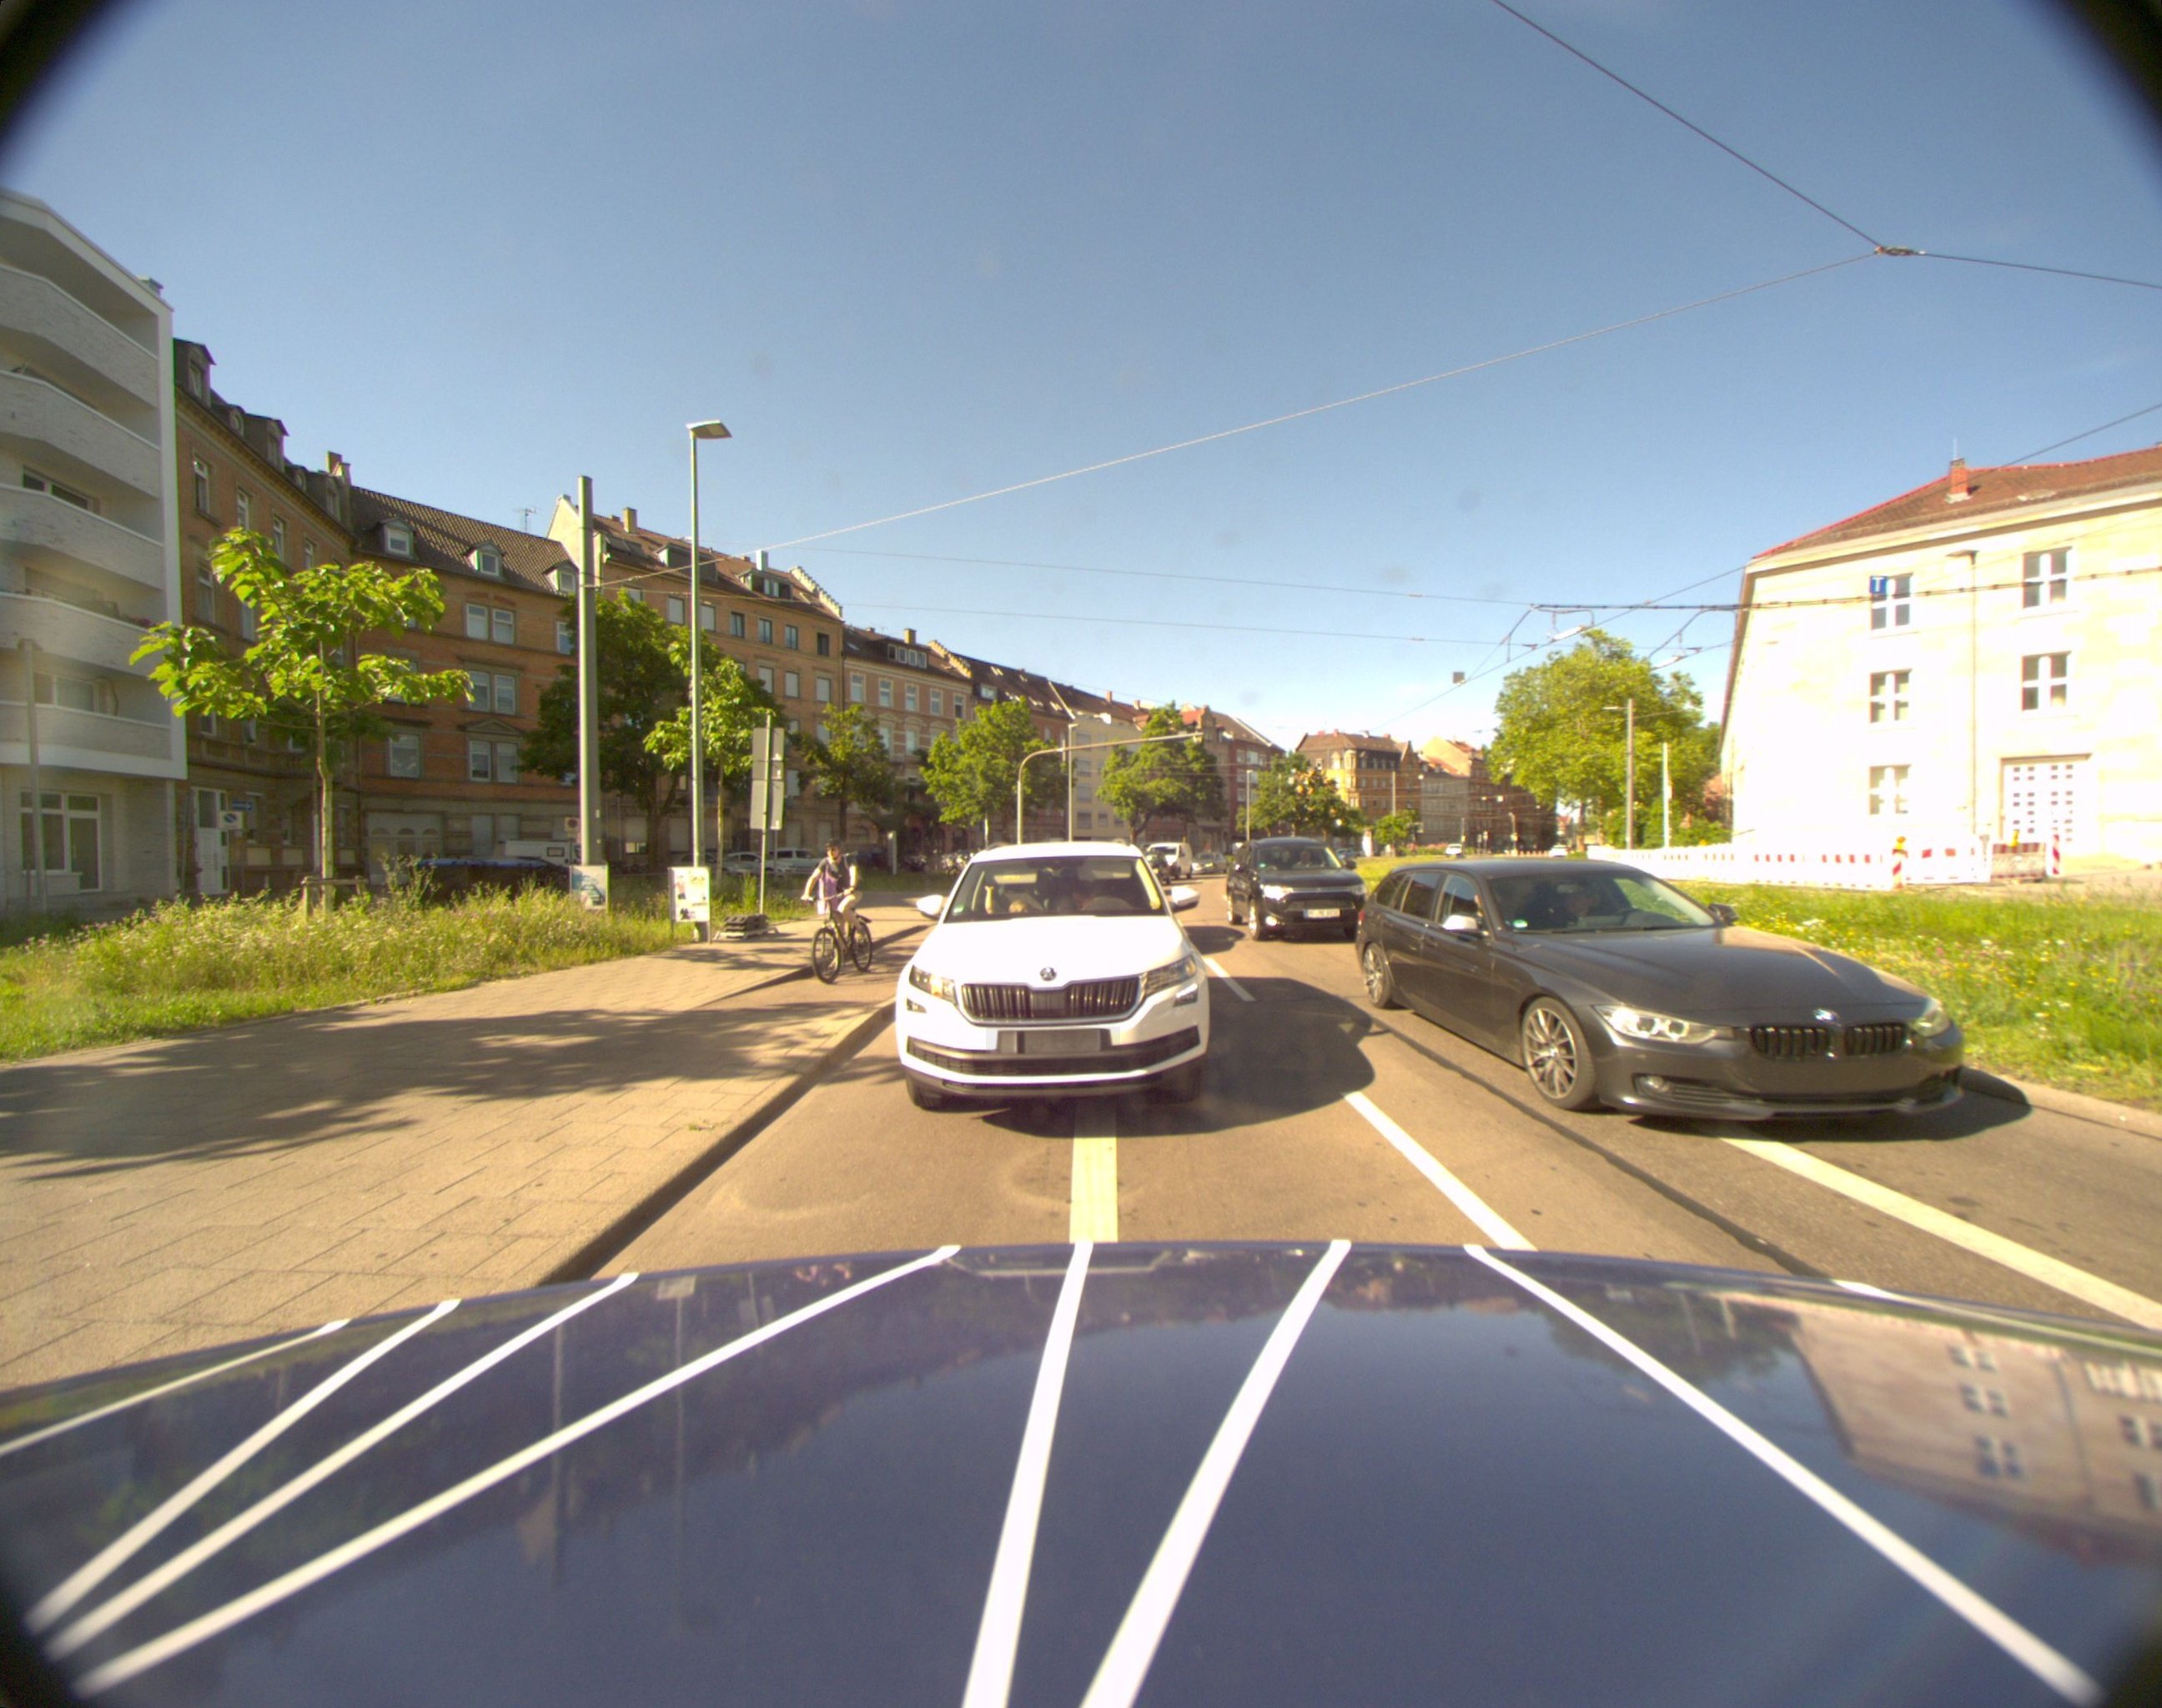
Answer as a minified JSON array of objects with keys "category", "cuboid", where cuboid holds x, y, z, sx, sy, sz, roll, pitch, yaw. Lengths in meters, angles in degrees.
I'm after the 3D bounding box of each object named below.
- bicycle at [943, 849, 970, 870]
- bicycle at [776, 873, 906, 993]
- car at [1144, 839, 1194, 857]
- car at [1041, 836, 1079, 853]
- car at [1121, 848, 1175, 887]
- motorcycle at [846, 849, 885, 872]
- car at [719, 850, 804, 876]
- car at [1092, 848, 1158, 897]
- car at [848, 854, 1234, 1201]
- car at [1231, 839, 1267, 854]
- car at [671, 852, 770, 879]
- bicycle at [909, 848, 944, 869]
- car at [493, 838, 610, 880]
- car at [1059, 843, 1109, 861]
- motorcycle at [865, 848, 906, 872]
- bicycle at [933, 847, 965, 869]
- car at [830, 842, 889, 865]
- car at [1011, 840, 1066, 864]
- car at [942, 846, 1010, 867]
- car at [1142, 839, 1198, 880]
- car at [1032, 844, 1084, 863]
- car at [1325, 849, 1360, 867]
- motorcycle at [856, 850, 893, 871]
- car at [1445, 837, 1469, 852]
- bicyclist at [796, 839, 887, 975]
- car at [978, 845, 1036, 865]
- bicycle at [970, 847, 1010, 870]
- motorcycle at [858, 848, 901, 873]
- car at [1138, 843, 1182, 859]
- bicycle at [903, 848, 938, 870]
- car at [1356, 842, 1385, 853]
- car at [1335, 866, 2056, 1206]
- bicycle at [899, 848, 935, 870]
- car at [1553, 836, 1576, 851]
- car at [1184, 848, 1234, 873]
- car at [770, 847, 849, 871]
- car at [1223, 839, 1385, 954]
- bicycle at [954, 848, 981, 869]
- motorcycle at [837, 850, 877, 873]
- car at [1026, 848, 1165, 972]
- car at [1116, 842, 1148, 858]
[{"category":"bicycle","cuboid":[-7.688,0.337,46.760,0.664,1.260,2.199,-3,1,-36]},{"category":"bicycle","cuboid":[-3.090,0.961,10.060,0.736,1.353,2.077,-1,1,10]},{"category":"car","cuboid":[8.195,-0.592,70.609,4.578,1.658,1.600,0,1,7]},{"category":"car","cuboid":[-1.942,-0.946,71.666,1.547,1.578,3.607,1,2,41]},{"category":"car","cuboid":[3.121,0.554,34.866,1.837,1.637,4.152,0,1,14]},{"category":"motorcycle","cuboid":[-12.943,0.412,45.625,2.314,1.276,0.664,-2,1,24]},{"category":"car","cuboid":[-16.409,0.437,39.106,3.696,1.244,1.683,0,1,13]},{"category":"car","cuboid":[1.641,0.596,26.957,1.838,1.543,4.151,0,1,10]},{"category":"car","cuboid":[-0.230,0.853,5.950,1.842,1.636,4.397,-2,0,-1]},{"category":"car","cuboid":[18.691,-0.824,84.659,3.823,1.581,1.600,0,1,6]},{"category":"car","cuboid":[-17.502,0.530,36.907,4.156,1.244,1.683,0,1,13]},{"category":"bicycle","cuboid":[-9.513,0.276,46.712,2.198,1.260,0.664,-2,1,32]},{"category":"car","cuboid":[-27.120,0.213,39.010,2.047,2.026,4.510,1,2,41]},{"category":"car","cuboid":[0.258,-0.163,61.165,3.823,1.398,1.600,0,1,6]},{"category":"motorcycle","cuboid":[-11.151,0.354,43.294,2.200,1.315,0.664,-2,1,18]},{"category":"bicycle","cuboid":[-7.731,0.237,44.518,0.664,1.260,2.198,-3,1,-45]},{"category":"car","cuboid":[-15.613,-0.060,53.671,1.547,1.578,3.709,1,2,41]},{"category":"car","cuboid":[-3.110,-0.140,56.104,3.825,1.698,1.682,0,1,3]},{"category":"car","cuboid":[-7.046,0.172,51.296,4.322,1.398,1.682,0,1,3]},{"category":"car","cuboid":[4.884,0.235,41.063,1.979,2.074,4.719,0,1,19]},{"category":"car","cuboid":[-1.778,-0.058,58.713,3.823,1.398,1.600,0,1,6]},{"category":"car","cuboid":[25.260,0.385,73.347,1.835,1.637,4.157,1,2,40]},{"category":"motorcycle","cuboid":[-12.605,0.398,46.404,2.199,1.260,0.664,-2,1,24]},{"category":"car","cuboid":[50.505,-1.232,101.934,1.994,1.864,4.599,-1,1,37]},{"category":"bicyclist","cuboid":[-3.119,0.660,9.967,0.735,1.685,0.972,-1,1,11]},{"category":"car","cuboid":[-5.230,0.083,53.965,3.822,1.398,1.683,0,1,9]},{"category":"bicycle","cuboid":[-5.478,0.264,45.739,2.207,1.260,0.662,-3,1,-25]},{"category":"motorcycle","cuboid":[-11.181,0.371,42.207,2.200,1.322,0.663,-2,1,13]},{"category":"car","cuboid":[7.123,-0.252,68.179,3.823,1.372,1.600,0,1,9]},{"category":"bicycle","cuboid":[-9.709,0.291,46.009,2.198,1.260,0.664,-2,1,32]},{"category":"car","cuboid":[46.597,-0.990,122.273,3.989,1.641,1.866,-2,1,31]},{"category":"car","cuboid":[3.476,0.848,5.594,1.741,1.359,4.426,-2,0,1]},{"category":"bicycle","cuboid":[-9.745,0.303,45.071,2.198,1.260,0.664,-2,1,30]},{"category":"car","cuboid":[55.497,-1.205,87.173,1.820,1.636,4.190,-1,0,37]},{"category":"car","cuboid":[8.360,0.395,49.337,1.836,1.464,4.721,0,1,27]},{"category":"car","cuboid":[-14.683,0.253,41.195,3.700,1.244,1.540,0,1,2]},{"category":"car","cuboid":[3.695,0.624,13.399,1.841,1.636,4.399,-2,0,5]},{"category":"bicycle","cuboid":[-7.125,0.305,47.754,0.664,1.260,2.199,-3,1,-36]},{"category":"motorcycle","cuboid":[-13.292,0.435,45.020,2.314,1.270,0.664,-2,1,24]},{"category":"car","cuboid":[0.233,0.760,12.608,1.842,1.636,4.397,-2,0,1]},{"category":"car","cuboid":[5.466,-0.426,80.728,1.547,1.578,3.607,1,2,41]}]
